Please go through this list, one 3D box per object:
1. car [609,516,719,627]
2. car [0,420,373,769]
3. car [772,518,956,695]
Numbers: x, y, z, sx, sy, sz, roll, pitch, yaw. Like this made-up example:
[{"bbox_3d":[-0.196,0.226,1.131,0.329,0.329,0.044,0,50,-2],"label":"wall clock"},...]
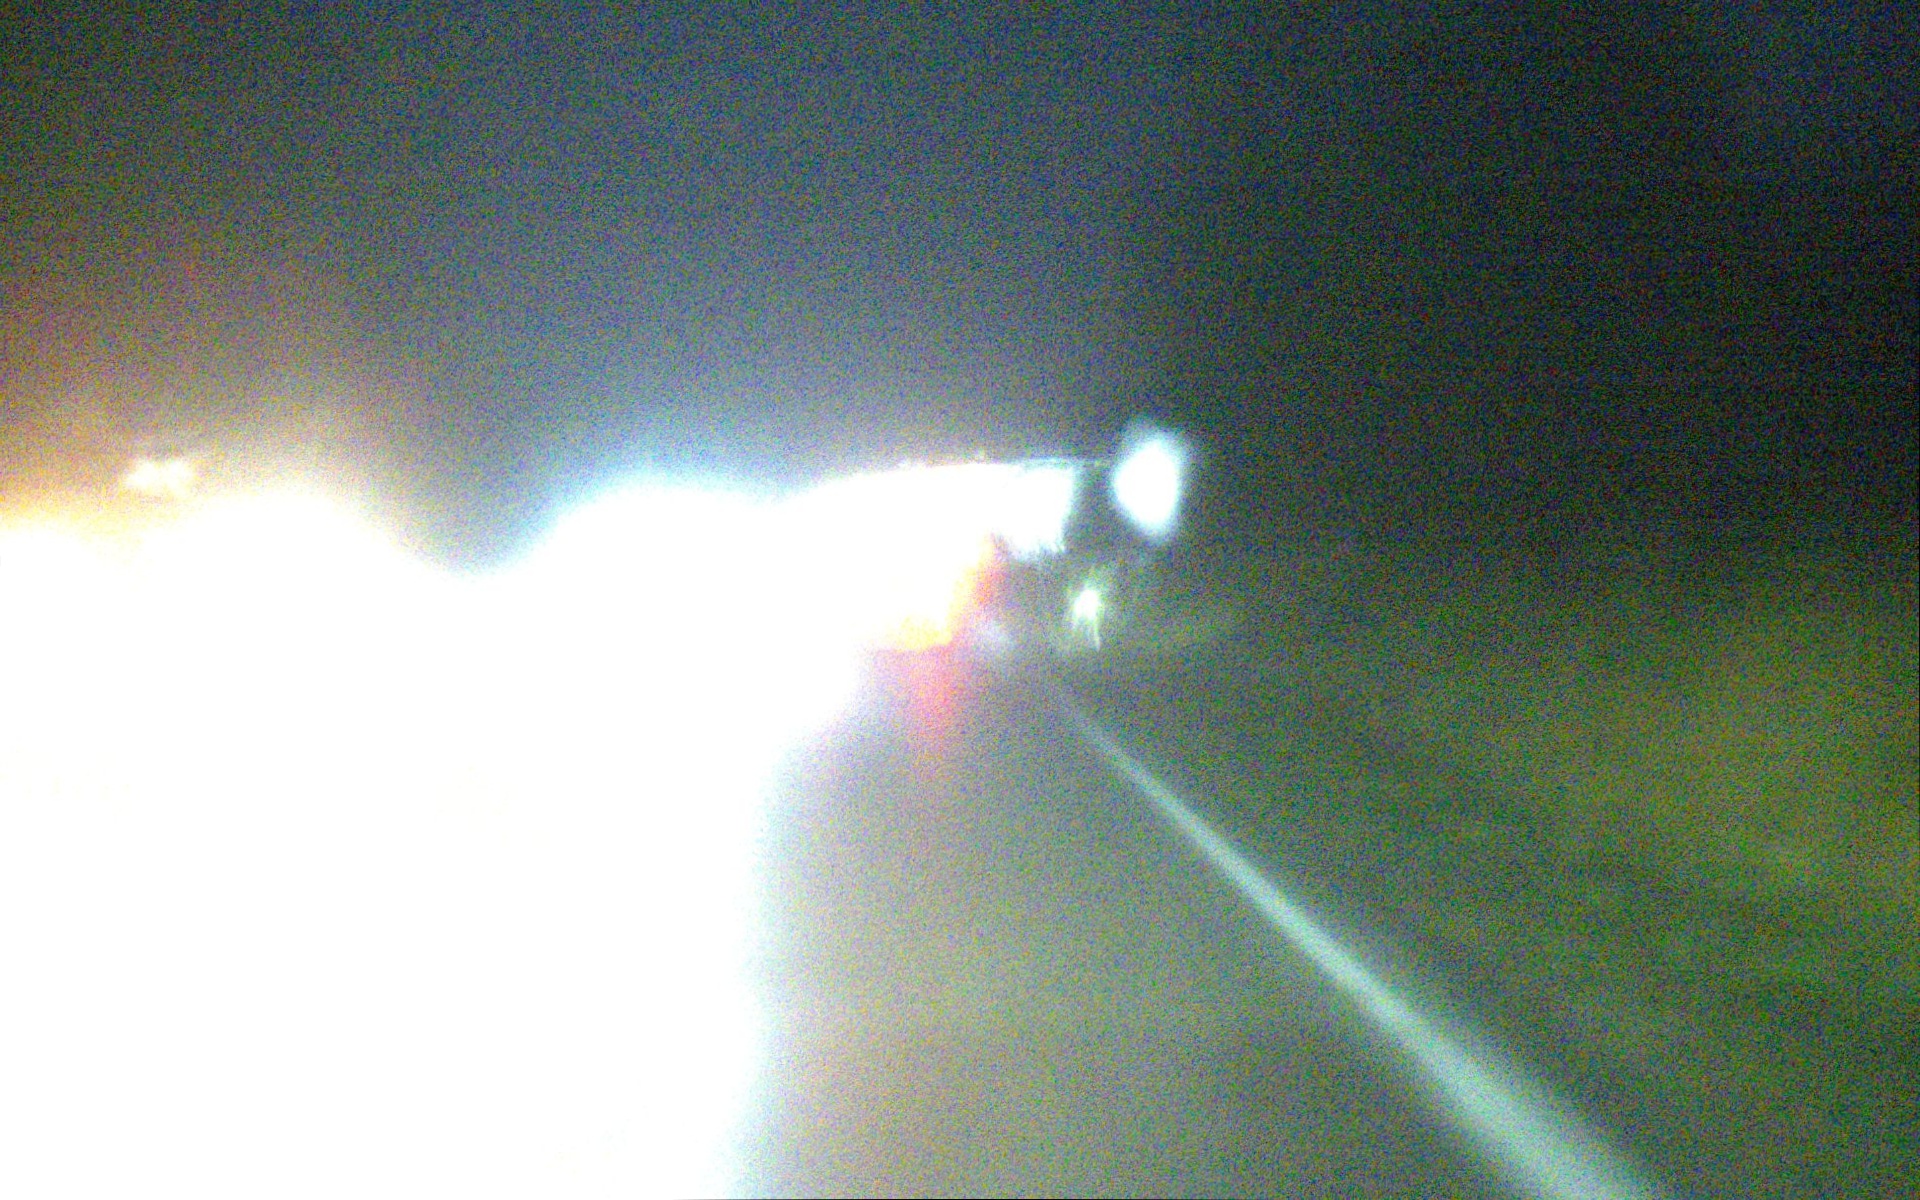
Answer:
[{"bbox_3d":[-5.655,-0.574,65.876,1.993,2.007,4.001,2,1,-5],"label":"car"},{"bbox_3d":[-5.005,-0.079,22.214,1.993,2.007,4.001,2,1,-5],"label":"car"},{"bbox_3d":[-1.181,0.027,42.080,2.093,2.007,4.001,2,1,-2],"label":"car"}]
